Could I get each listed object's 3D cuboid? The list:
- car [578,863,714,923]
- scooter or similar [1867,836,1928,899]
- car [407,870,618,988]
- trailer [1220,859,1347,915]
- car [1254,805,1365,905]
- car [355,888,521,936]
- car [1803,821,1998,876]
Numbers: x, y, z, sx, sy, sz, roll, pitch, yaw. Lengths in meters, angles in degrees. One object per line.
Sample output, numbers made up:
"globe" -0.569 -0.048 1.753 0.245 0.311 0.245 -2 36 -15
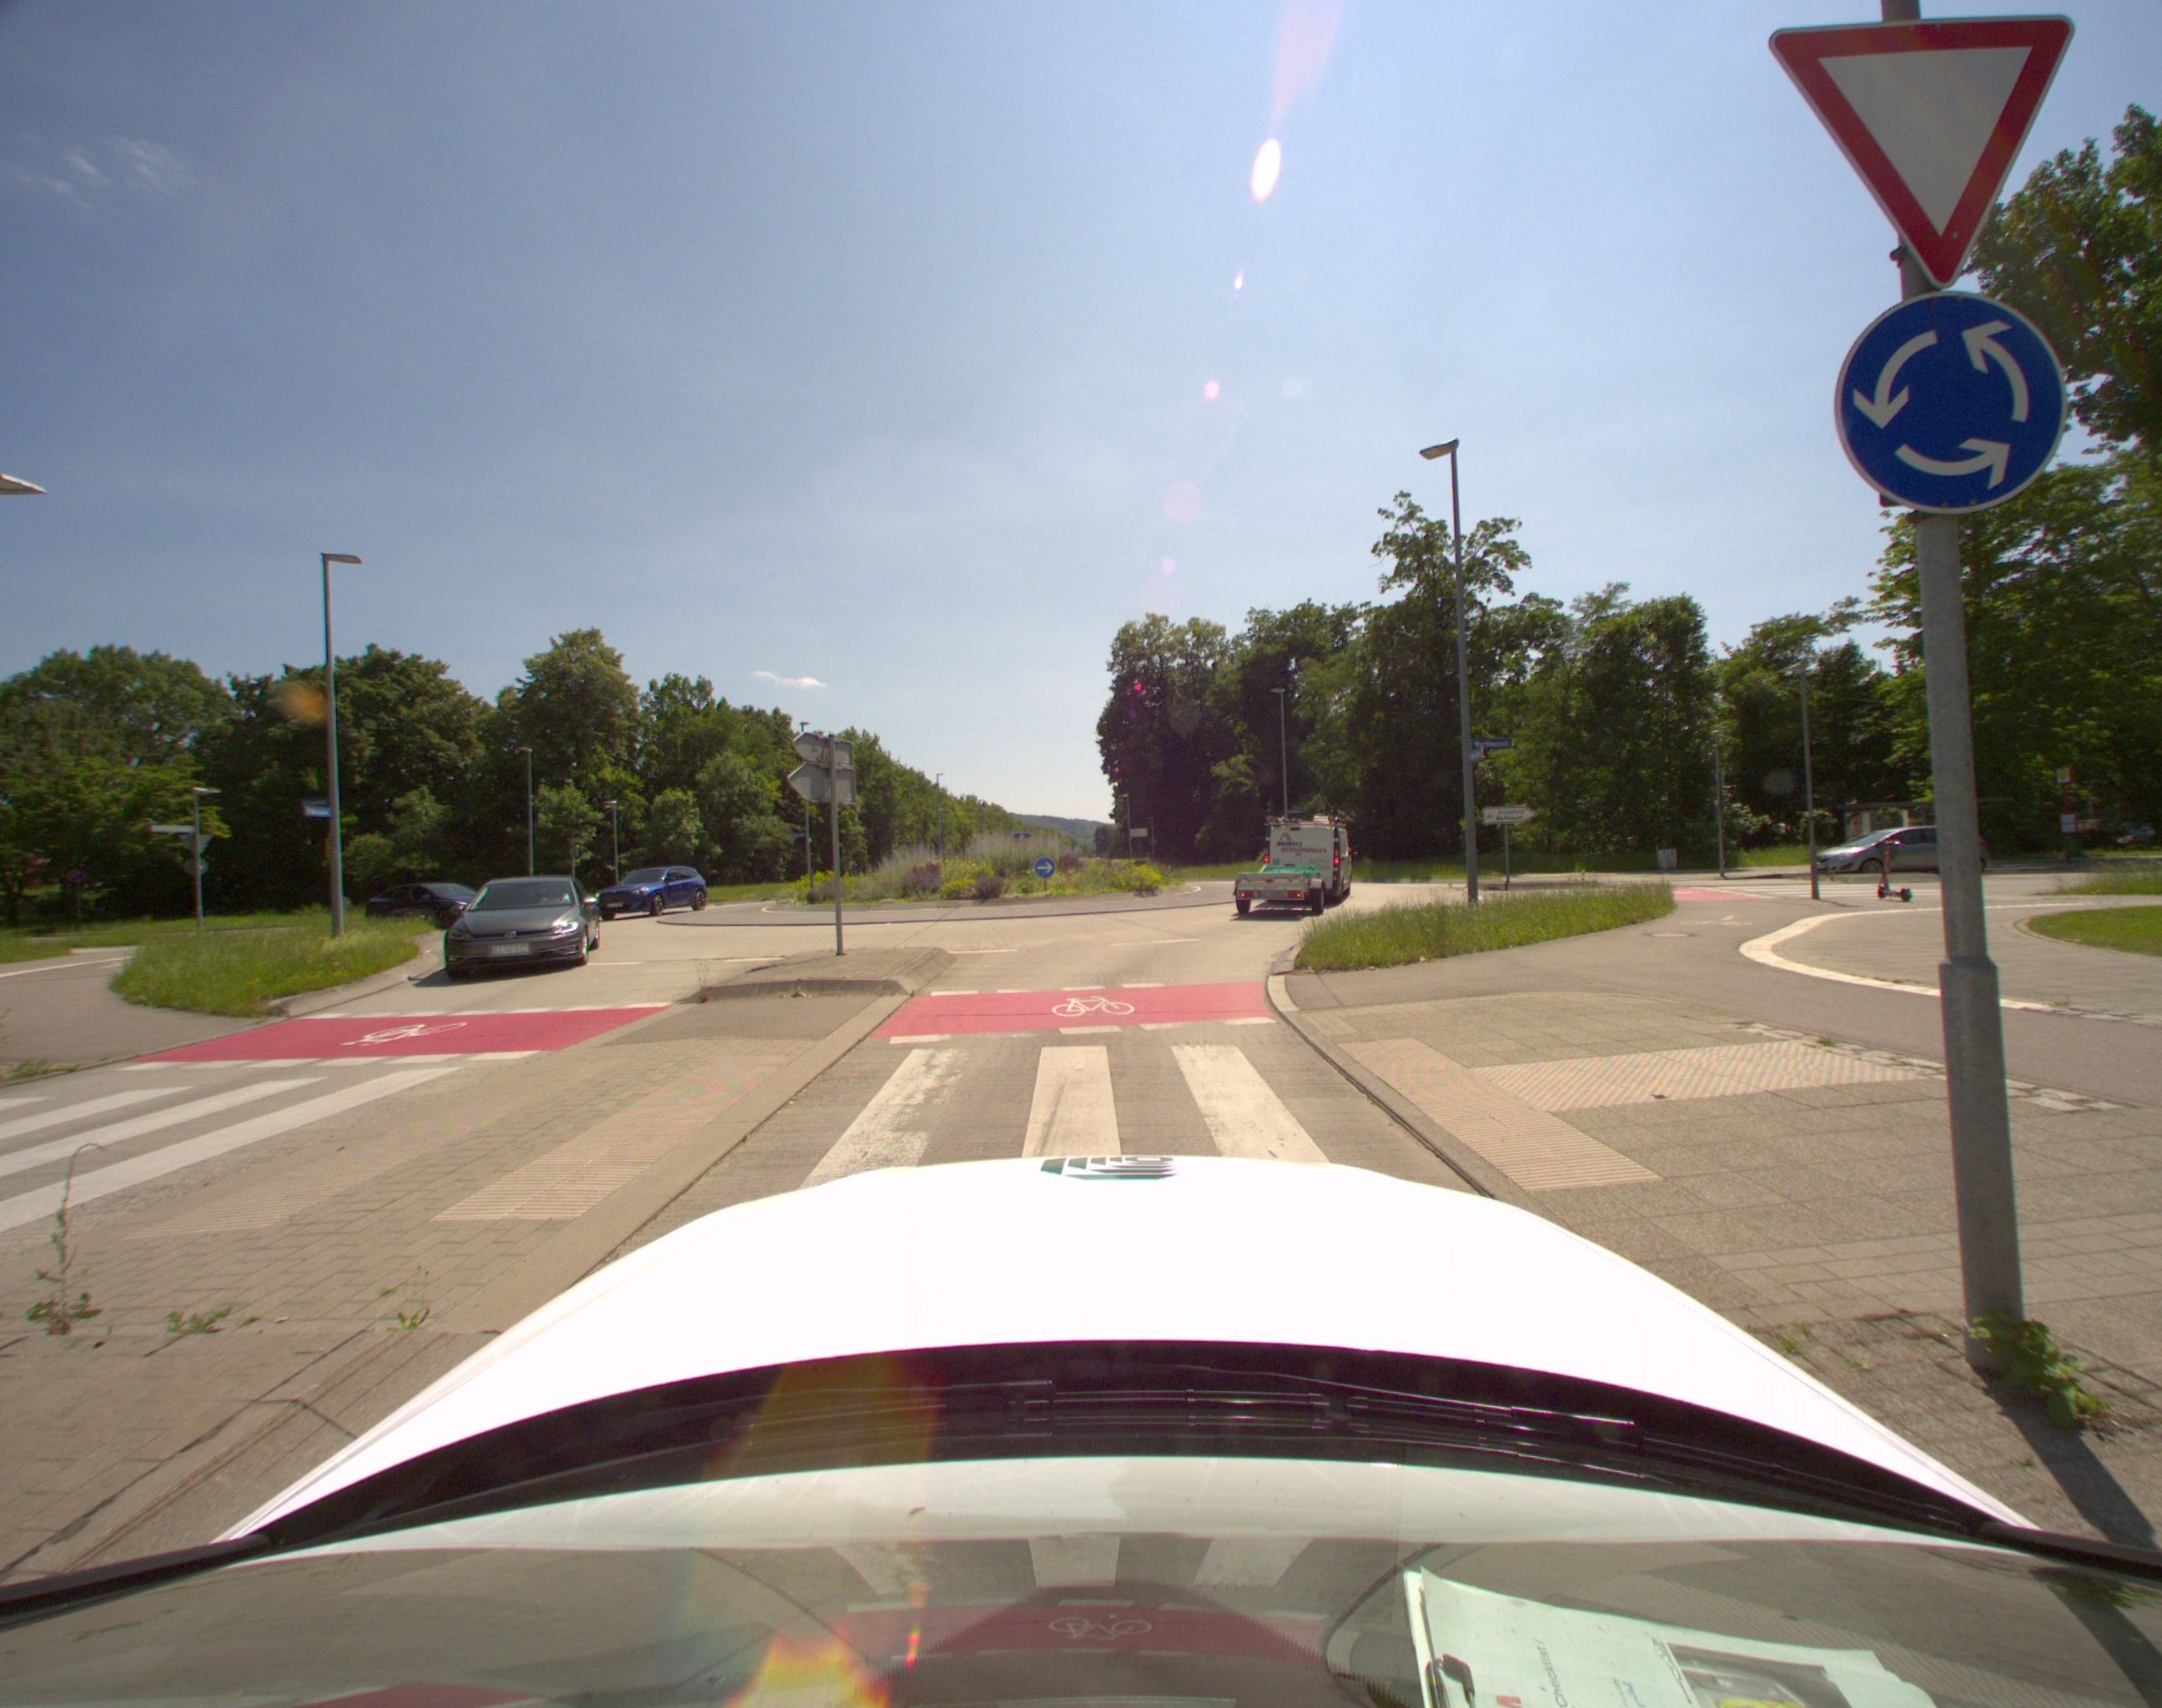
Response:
"car" -14.375 1.216 27.224 1.986 1.595 4.325 -3 1 2
"scooter or similar" 16.173 0.267 16.164 0.442 1.201 1.407 -2 -1 29
"car" -9.116 1.077 13.498 2.003 1.478 4.254 -4 0 -24
"trailer" 4.543 0.680 17.908 2.102 1.097 3.374 -2 -1 24
"car" 6.226 0.055 21.754 2.147 2.316 5.009 -2 -1 23
"car" -22.113 1.979 28.071 4.517 1.494 1.965 -1 -1 11
"car" 26.089 -0.141 26.077 4.087 1.607 1.796 -1 -1 11
